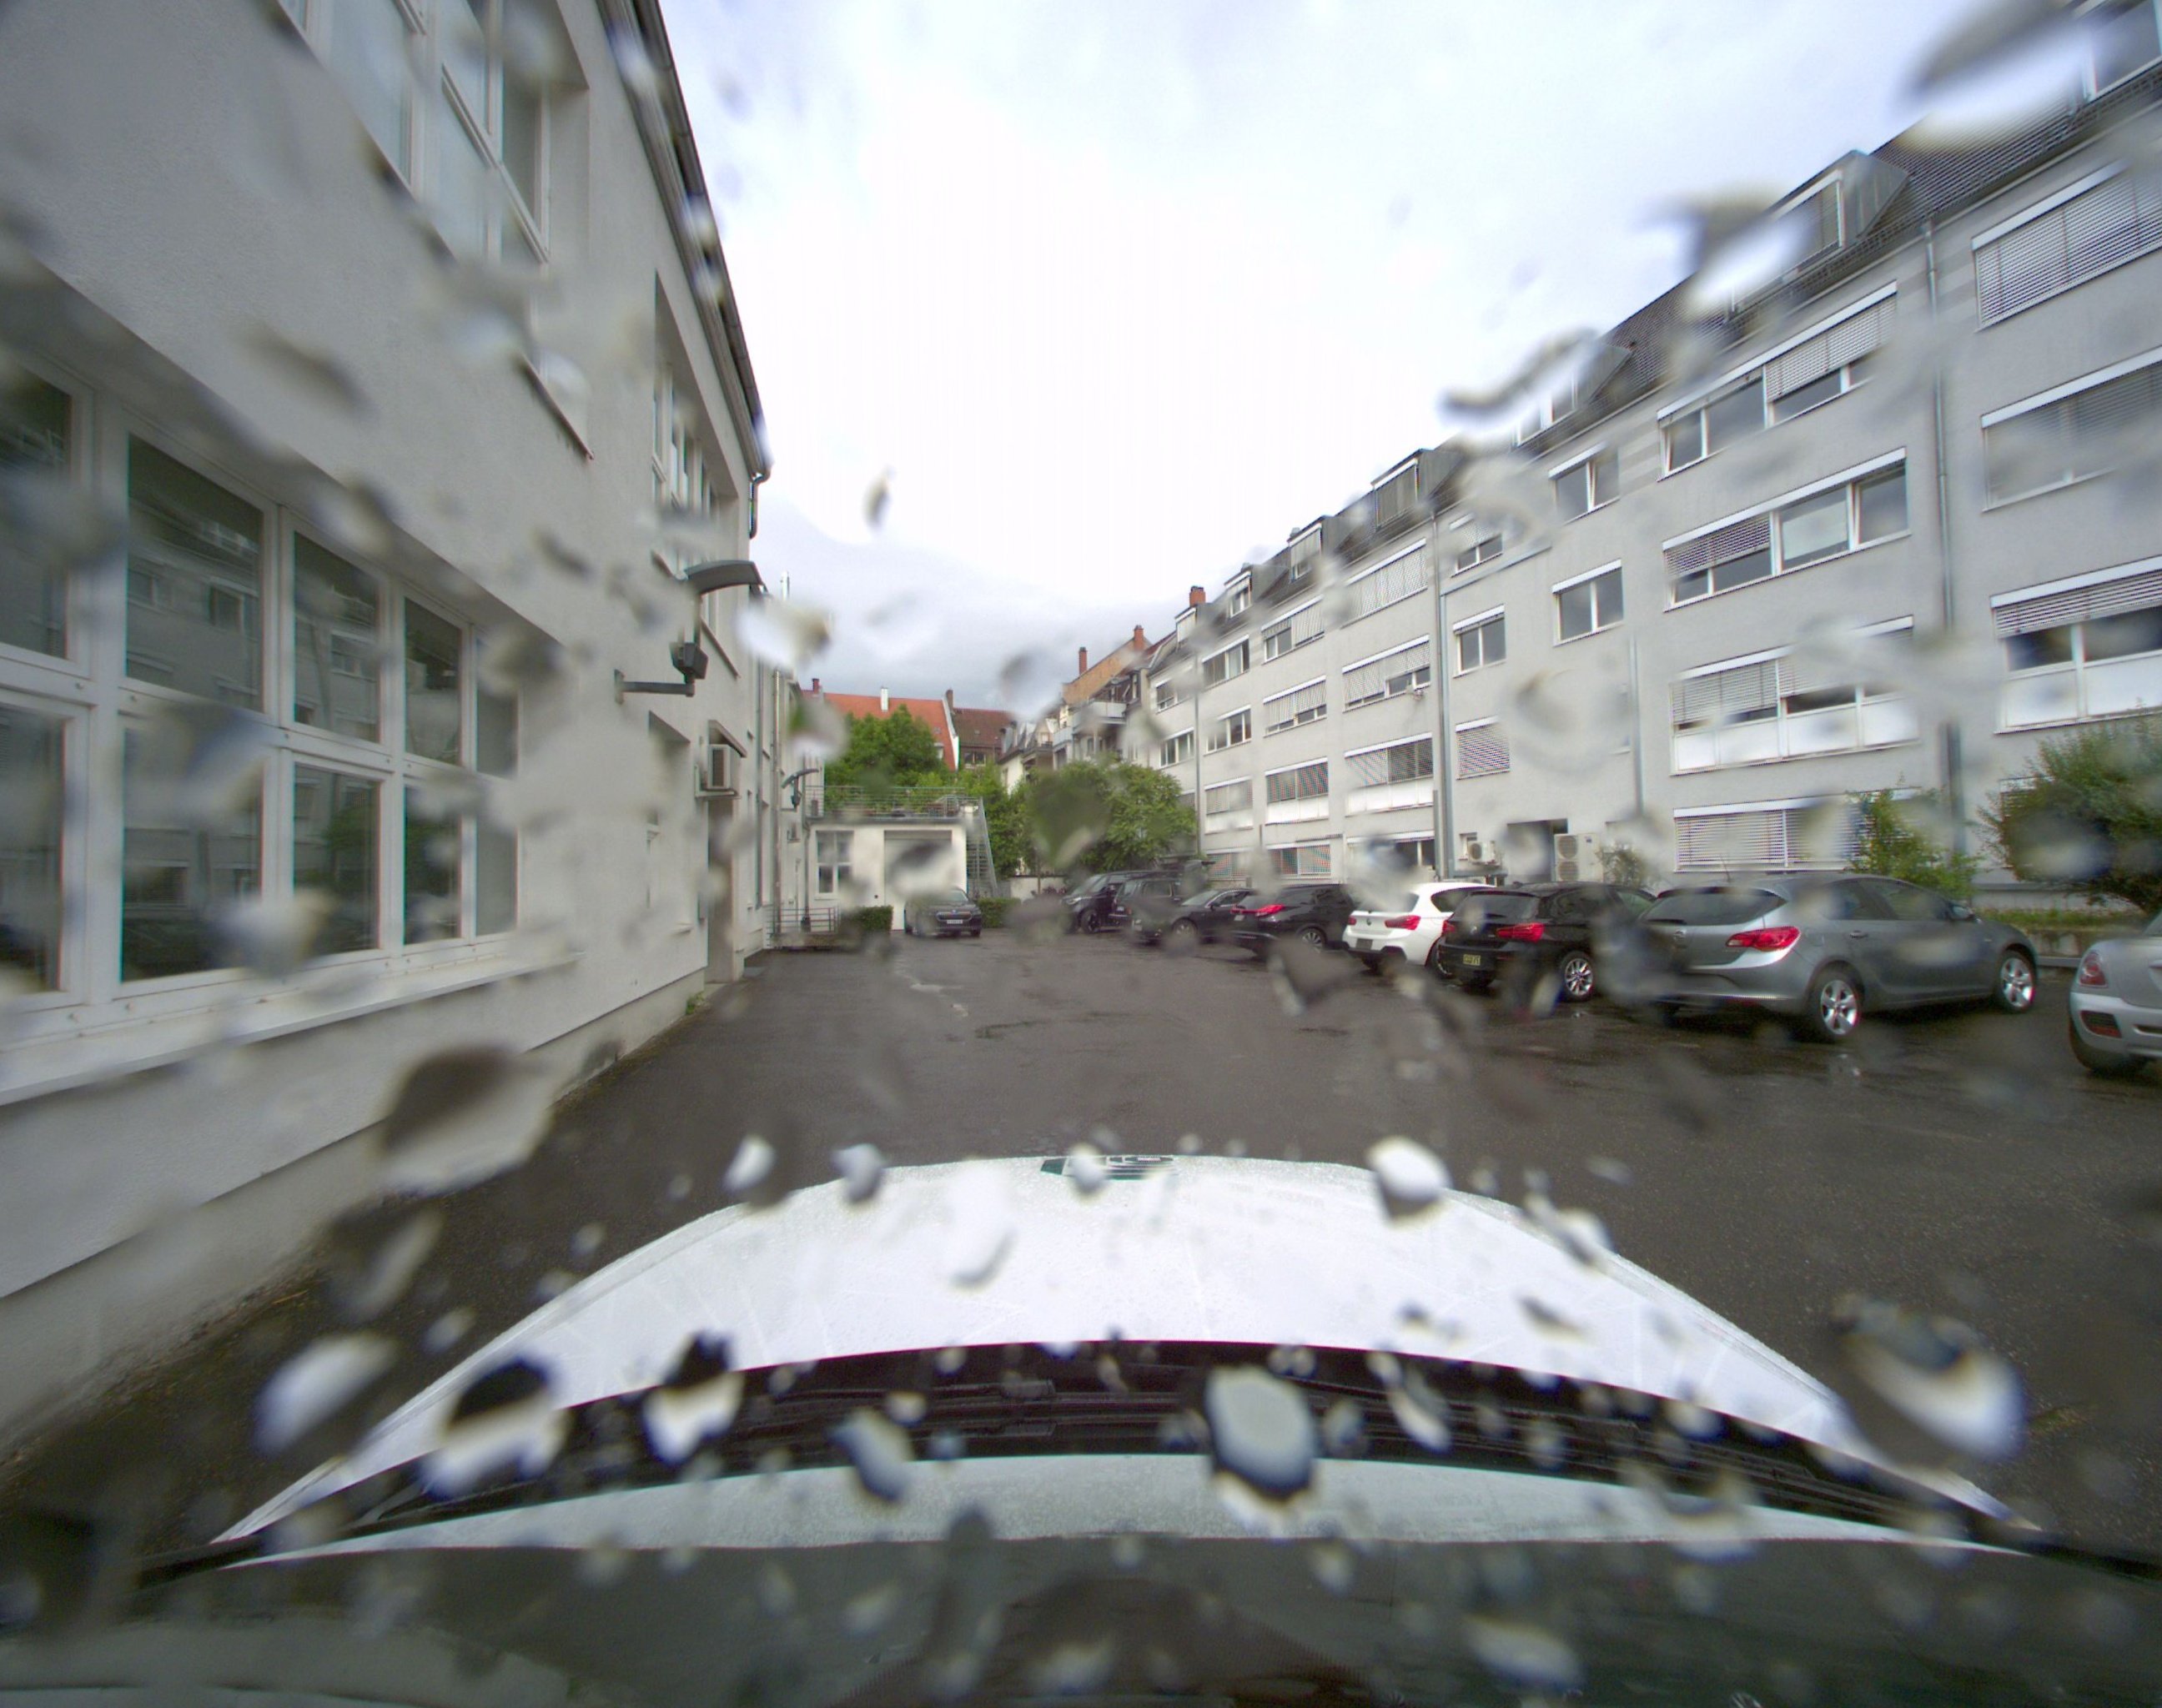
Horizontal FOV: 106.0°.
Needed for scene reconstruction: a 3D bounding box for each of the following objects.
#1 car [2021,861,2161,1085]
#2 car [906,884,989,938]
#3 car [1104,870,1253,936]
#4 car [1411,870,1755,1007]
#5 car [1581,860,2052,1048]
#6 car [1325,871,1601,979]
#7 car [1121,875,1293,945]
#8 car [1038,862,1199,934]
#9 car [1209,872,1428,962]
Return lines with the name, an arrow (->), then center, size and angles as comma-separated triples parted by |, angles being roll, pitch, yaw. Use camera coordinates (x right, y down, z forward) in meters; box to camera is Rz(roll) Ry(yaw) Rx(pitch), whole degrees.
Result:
car -> 8.797, 0.736, 5.665 | 3.424, 1.427, 1.678 | -2, -2, -18
car -> -4.080, 1.629, 24.466 | 1.984, 1.444, 3.977 | 0, -2, -17
car -> 2.829, 1.391, 23.939 | 3.918, 1.687, 1.807 | -2, -2, -17
car -> 6.656, 1.011, 10.858 | 4.000, 1.403, 1.761 | -2, -1, -20
car -> 7.469, 0.880, 8.347 | 3.998, 1.446, 1.795 | -2, -2, -18
car -> 6.224, 1.083, 13.328 | 4.001, 1.458, 1.761 | -1, -2, -20
car -> 3.182, 1.374, 20.636 | 3.922, 1.514, 1.740 | -2, -2, -20
car -> 1.214, 1.360, 26.348 | 4.658, 2.003, 2.206 | -1, -1, -25
car -> 4.775, 1.205, 16.412 | 3.925, 1.514, 1.806 | -1, -2, -22
